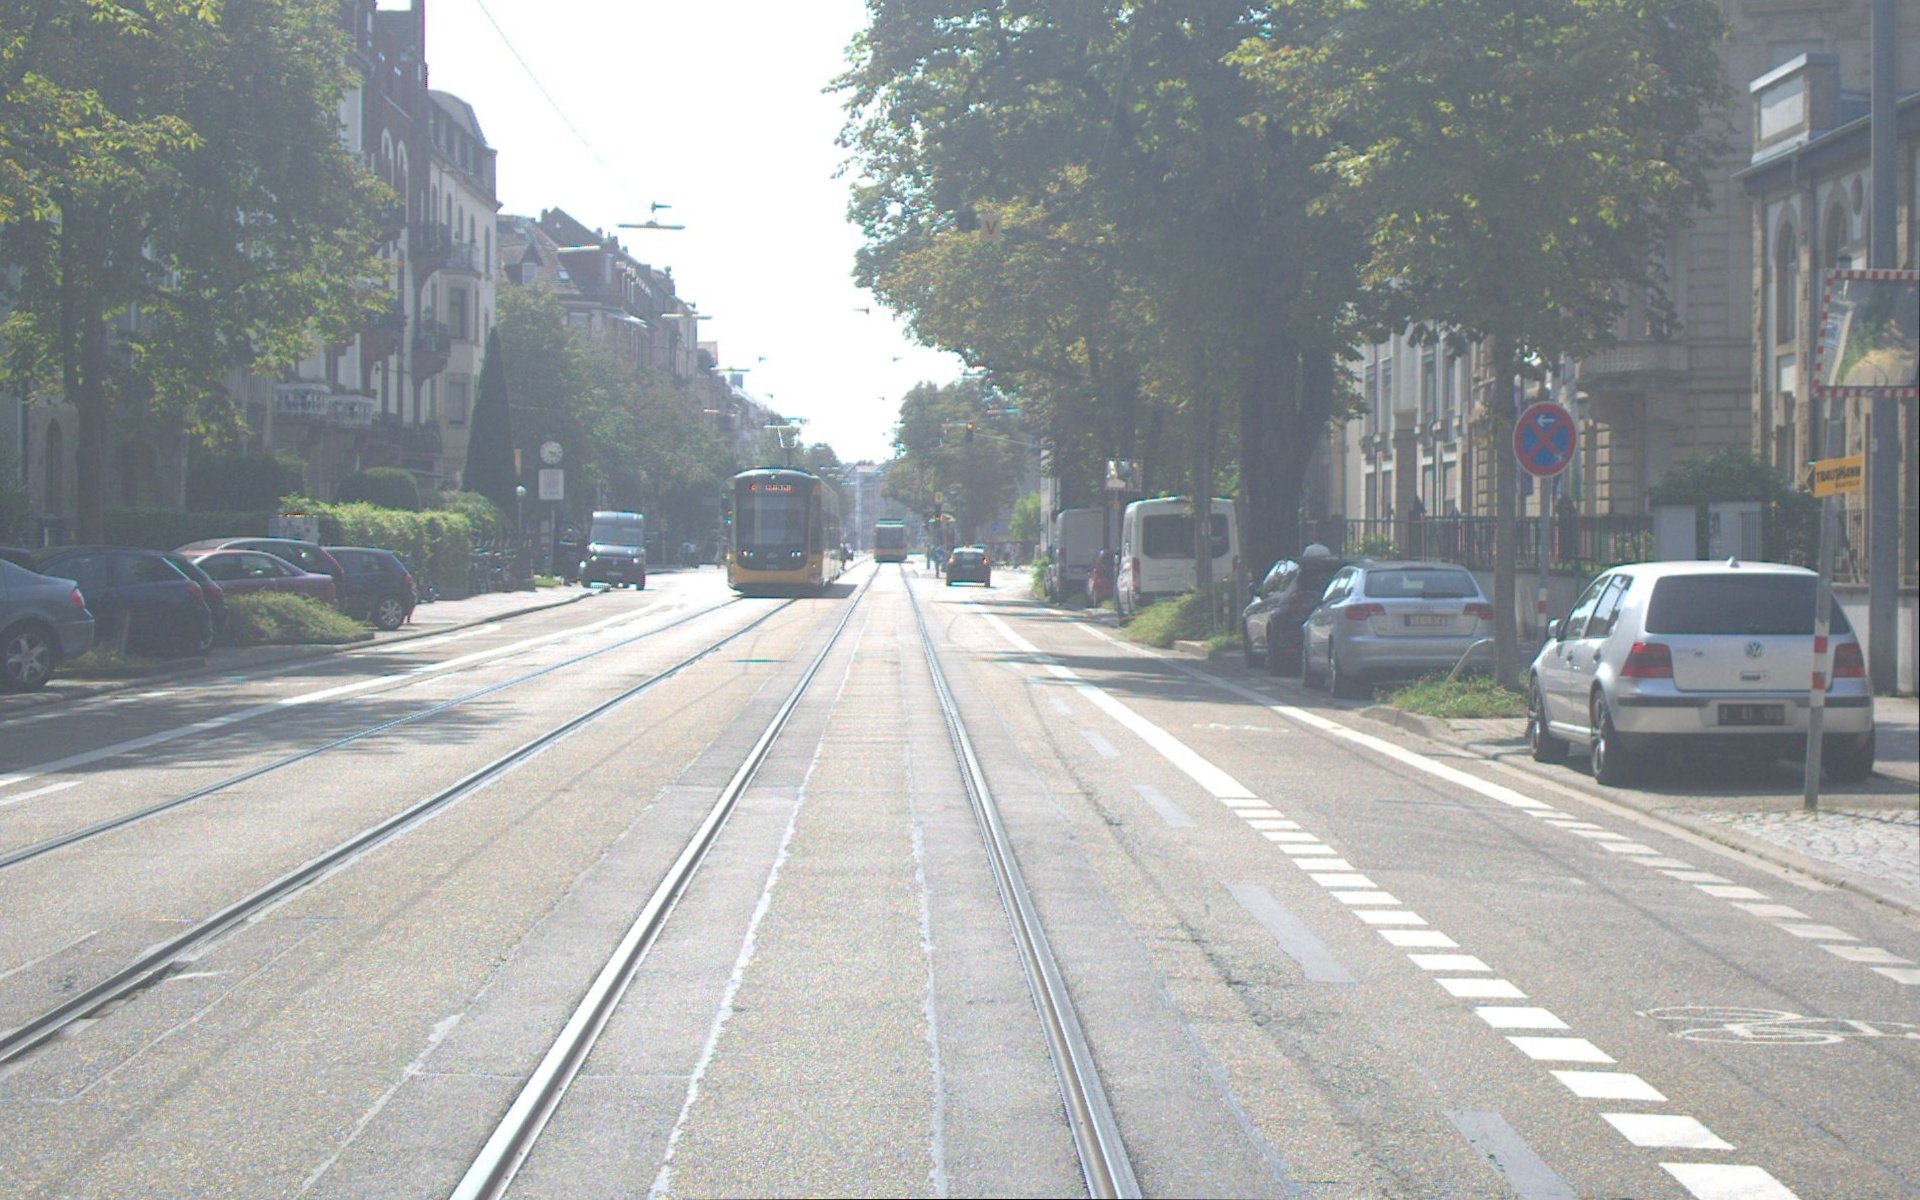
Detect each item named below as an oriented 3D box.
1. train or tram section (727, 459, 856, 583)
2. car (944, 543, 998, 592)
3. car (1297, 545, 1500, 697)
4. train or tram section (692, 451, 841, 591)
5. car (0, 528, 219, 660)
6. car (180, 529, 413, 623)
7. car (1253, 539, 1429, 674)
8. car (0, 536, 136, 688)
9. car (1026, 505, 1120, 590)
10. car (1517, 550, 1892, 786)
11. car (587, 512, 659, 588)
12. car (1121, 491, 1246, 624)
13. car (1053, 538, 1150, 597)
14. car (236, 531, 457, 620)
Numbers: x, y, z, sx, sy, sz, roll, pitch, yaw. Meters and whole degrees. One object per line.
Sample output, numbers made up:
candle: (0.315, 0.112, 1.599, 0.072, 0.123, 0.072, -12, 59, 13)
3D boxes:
train or tram section: (-5.310, -2.554, 110.676, 3.497, 3.691, 12.413, 1, 1, 0)
car: (0.399, -1.243, 131.023, 1.993, 1.795, 4.000, 1, 1, 0)
car: (4.608, 0.189, 36.551, 1.640, 1.506, 3.641, 1, 1, -1)
train or tram section: (-5.390, -2.254, 98.245, 3.497, 3.691, 12.413, 1, 1, 0)
car: (-11.147, -0.083, 42.353, 3.577, 1.569, 1.676, 0, 1, -42)
car: (-11.414, -0.408, 59.278, 3.577, 1.569, 1.676, 0, 1, -42)
car: (4.673, 0.041, 42.652, 1.794, 1.571, 4.000, 1, 1, 1)
car: (-10.454, 0.136, 33.265, 1.675, 1.447, 4.677, 1, 2, 43)
car: (2.988, -1.406, 91.498, 1.993, 2.226, 4.001, 0, 1, -6)
car: (4.890, 0.393, 23.040, 1.791, 1.441, 3.733, -1, 1, 2)
car: (-11.149, -1.657, 113.909, 2.242, 2.433, 4.001, 1, 1, -4)
car: (4.133, -0.799, 64.222, 1.993, 2.357, 4.000, 1, 1, 0)
car: (3.443, -0.820, 84.370, 1.993, 1.393, 4.001, 1, 1, -3)
car: (-11.106, -0.436, 62.316, 3.577, 1.569, 1.676, 0, 1, -42)
